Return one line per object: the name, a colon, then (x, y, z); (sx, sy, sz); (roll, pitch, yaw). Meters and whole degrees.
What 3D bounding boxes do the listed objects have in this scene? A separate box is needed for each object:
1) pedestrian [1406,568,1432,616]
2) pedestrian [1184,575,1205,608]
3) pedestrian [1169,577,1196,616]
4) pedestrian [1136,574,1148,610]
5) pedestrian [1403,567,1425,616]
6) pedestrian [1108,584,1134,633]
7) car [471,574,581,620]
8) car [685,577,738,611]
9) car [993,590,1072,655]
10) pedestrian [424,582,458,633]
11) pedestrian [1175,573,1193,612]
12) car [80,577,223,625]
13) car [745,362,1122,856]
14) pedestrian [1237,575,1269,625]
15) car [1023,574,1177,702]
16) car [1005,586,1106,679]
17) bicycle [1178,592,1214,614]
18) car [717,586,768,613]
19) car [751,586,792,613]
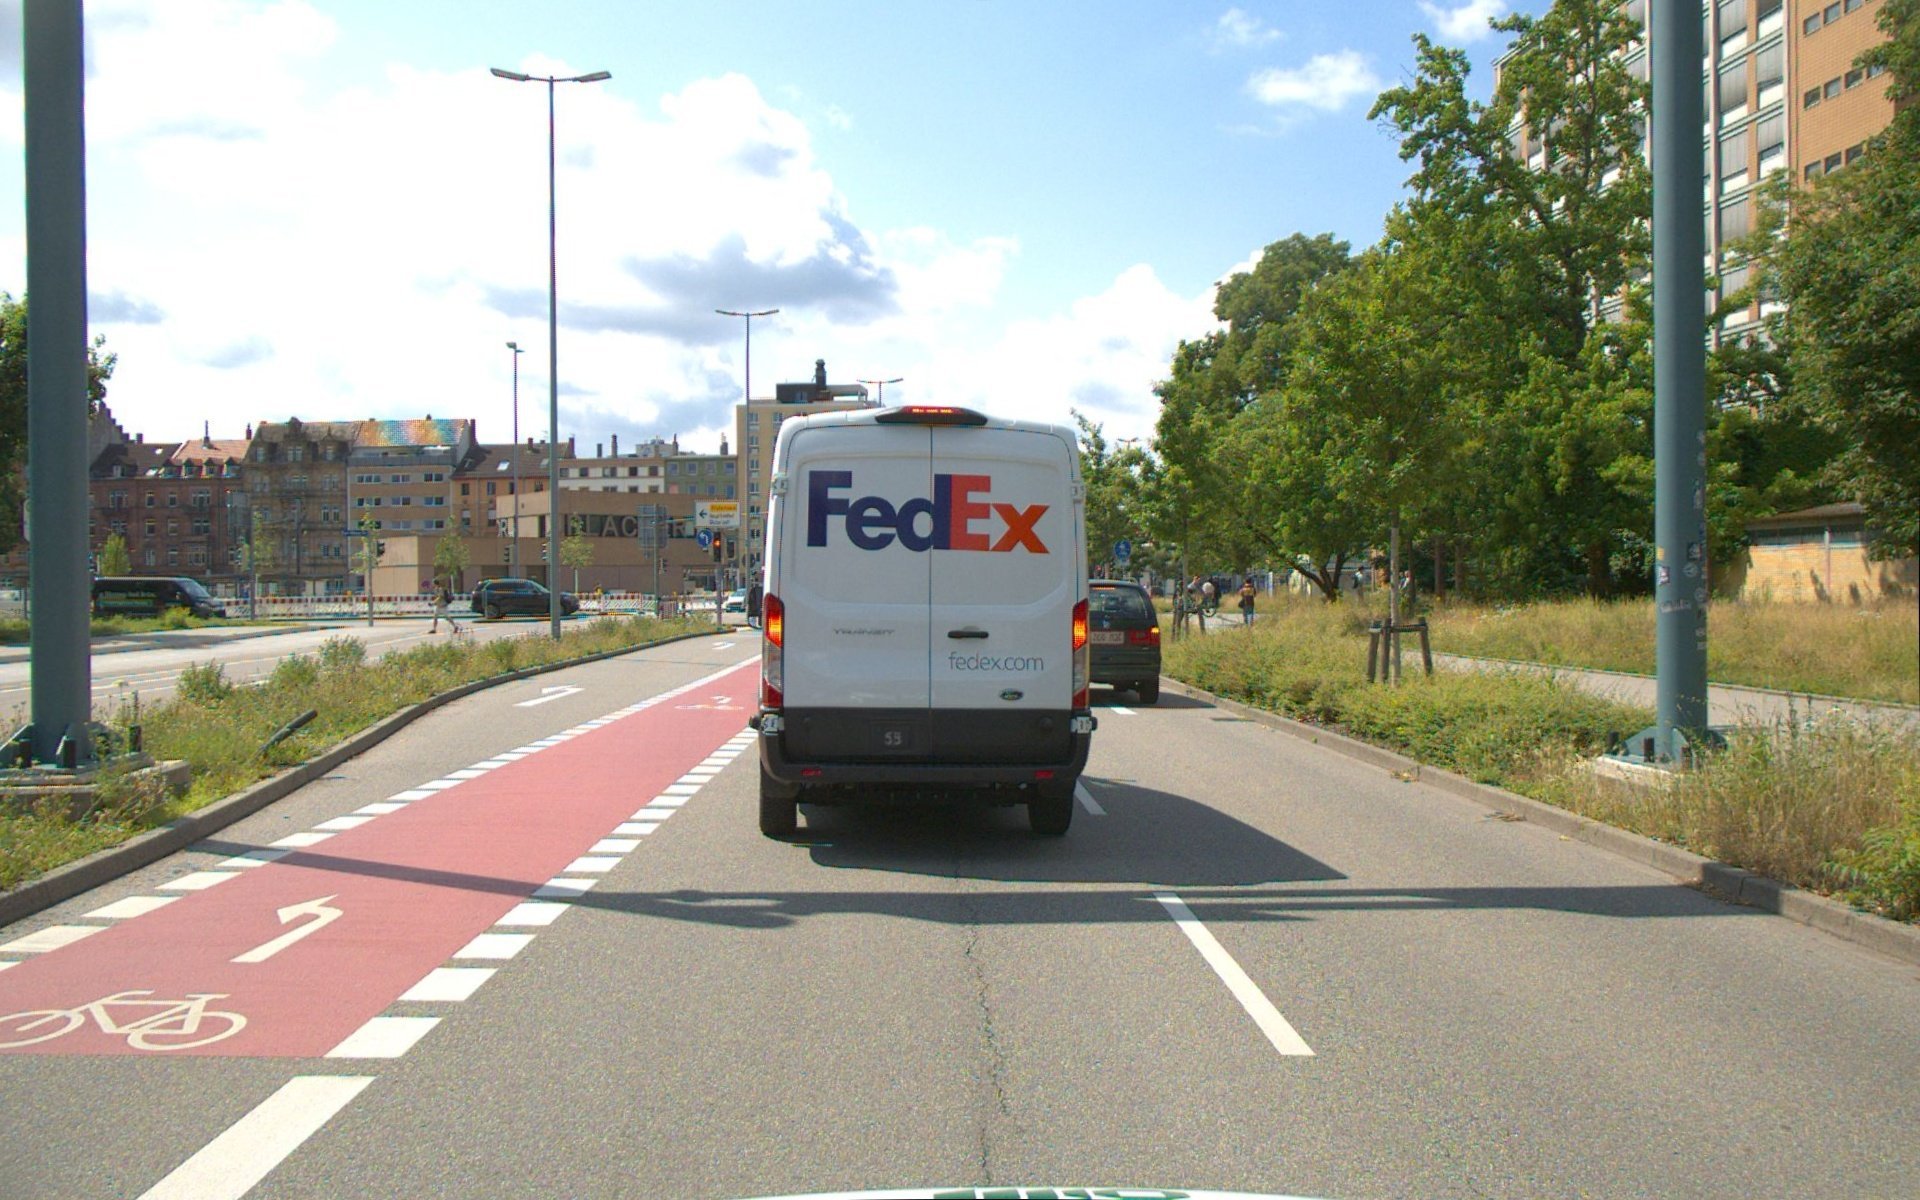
pedestrian: (20.170, -0.374, 72.680); (0.727, 2.094, 0.843); (-1, 0, -19)
pedestrian: (10.492, -0.378, 73.971); (0.880, 1.497, 0.486); (0, 0, 17)
pedestrian: (7.998, -0.128, 59.467); (0.828, 1.413, 0.740); (-1, 0, -3)
pedestrian: (9.888, -0.421, 89.786); (0.562, 1.925, 0.679); (0, 0, -3)
pedestrian: (19.673, -0.368, 71.675); (0.828, 2.094, 0.740); (0, 0, 26)
pedestrian: (6.395, 0.350, 65.708); (0.931, 1.925, 0.773); (0, 0, -3)
car: (-19.710, -0.139, 75.266); (4.540, 2.049, 2.096); (-1, 0, -7)
car: (-15.447, -0.337, 102.965); (1.951, 2.049, 4.003); (-1, 0, 12)
car: (1.746, 0.525, 41.036); (1.761, 1.486, 3.838); (0, 1, 0)
pedestrian: (-16.415, 0.231, 52.348); (0.869, 1.587, 0.547); (-1, 1, -43)
pedestrian: (11.025, -0.374, 81.424); (0.667, 1.925, 0.573); (0, 0, 42)
car: (-33.554, 0.038, 68.733); (4.911, 1.911, 1.927); (-1, 1, -6)
car: (-0.442, 0.018, 12.003); (2.099, 2.699, 5.696); (0, 1, -6)
pedestrian: (9.253, -0.009, 52.265); (0.828, 1.565, 0.834); (-1, 0, -3)
car: (2.024, 0.497, 25.068); (1.776, 1.764, 4.386); (0, 1, -2)
car: (1.846, 0.595, 33.161); (1.761, 1.717, 4.000); (0, 1, 0)
bicycle: (10.560, 0.147, 73.959); (1.537, 0.972, 0.486); (0, 0, 17)
car: (-13.331, -0.040, 101.723); (1.860, 1.613, 4.003); (-1, 0, 12)
car: (-12.255, -0.046, 107.960); (1.839, 1.680, 4.003); (-1, 0, 6)
